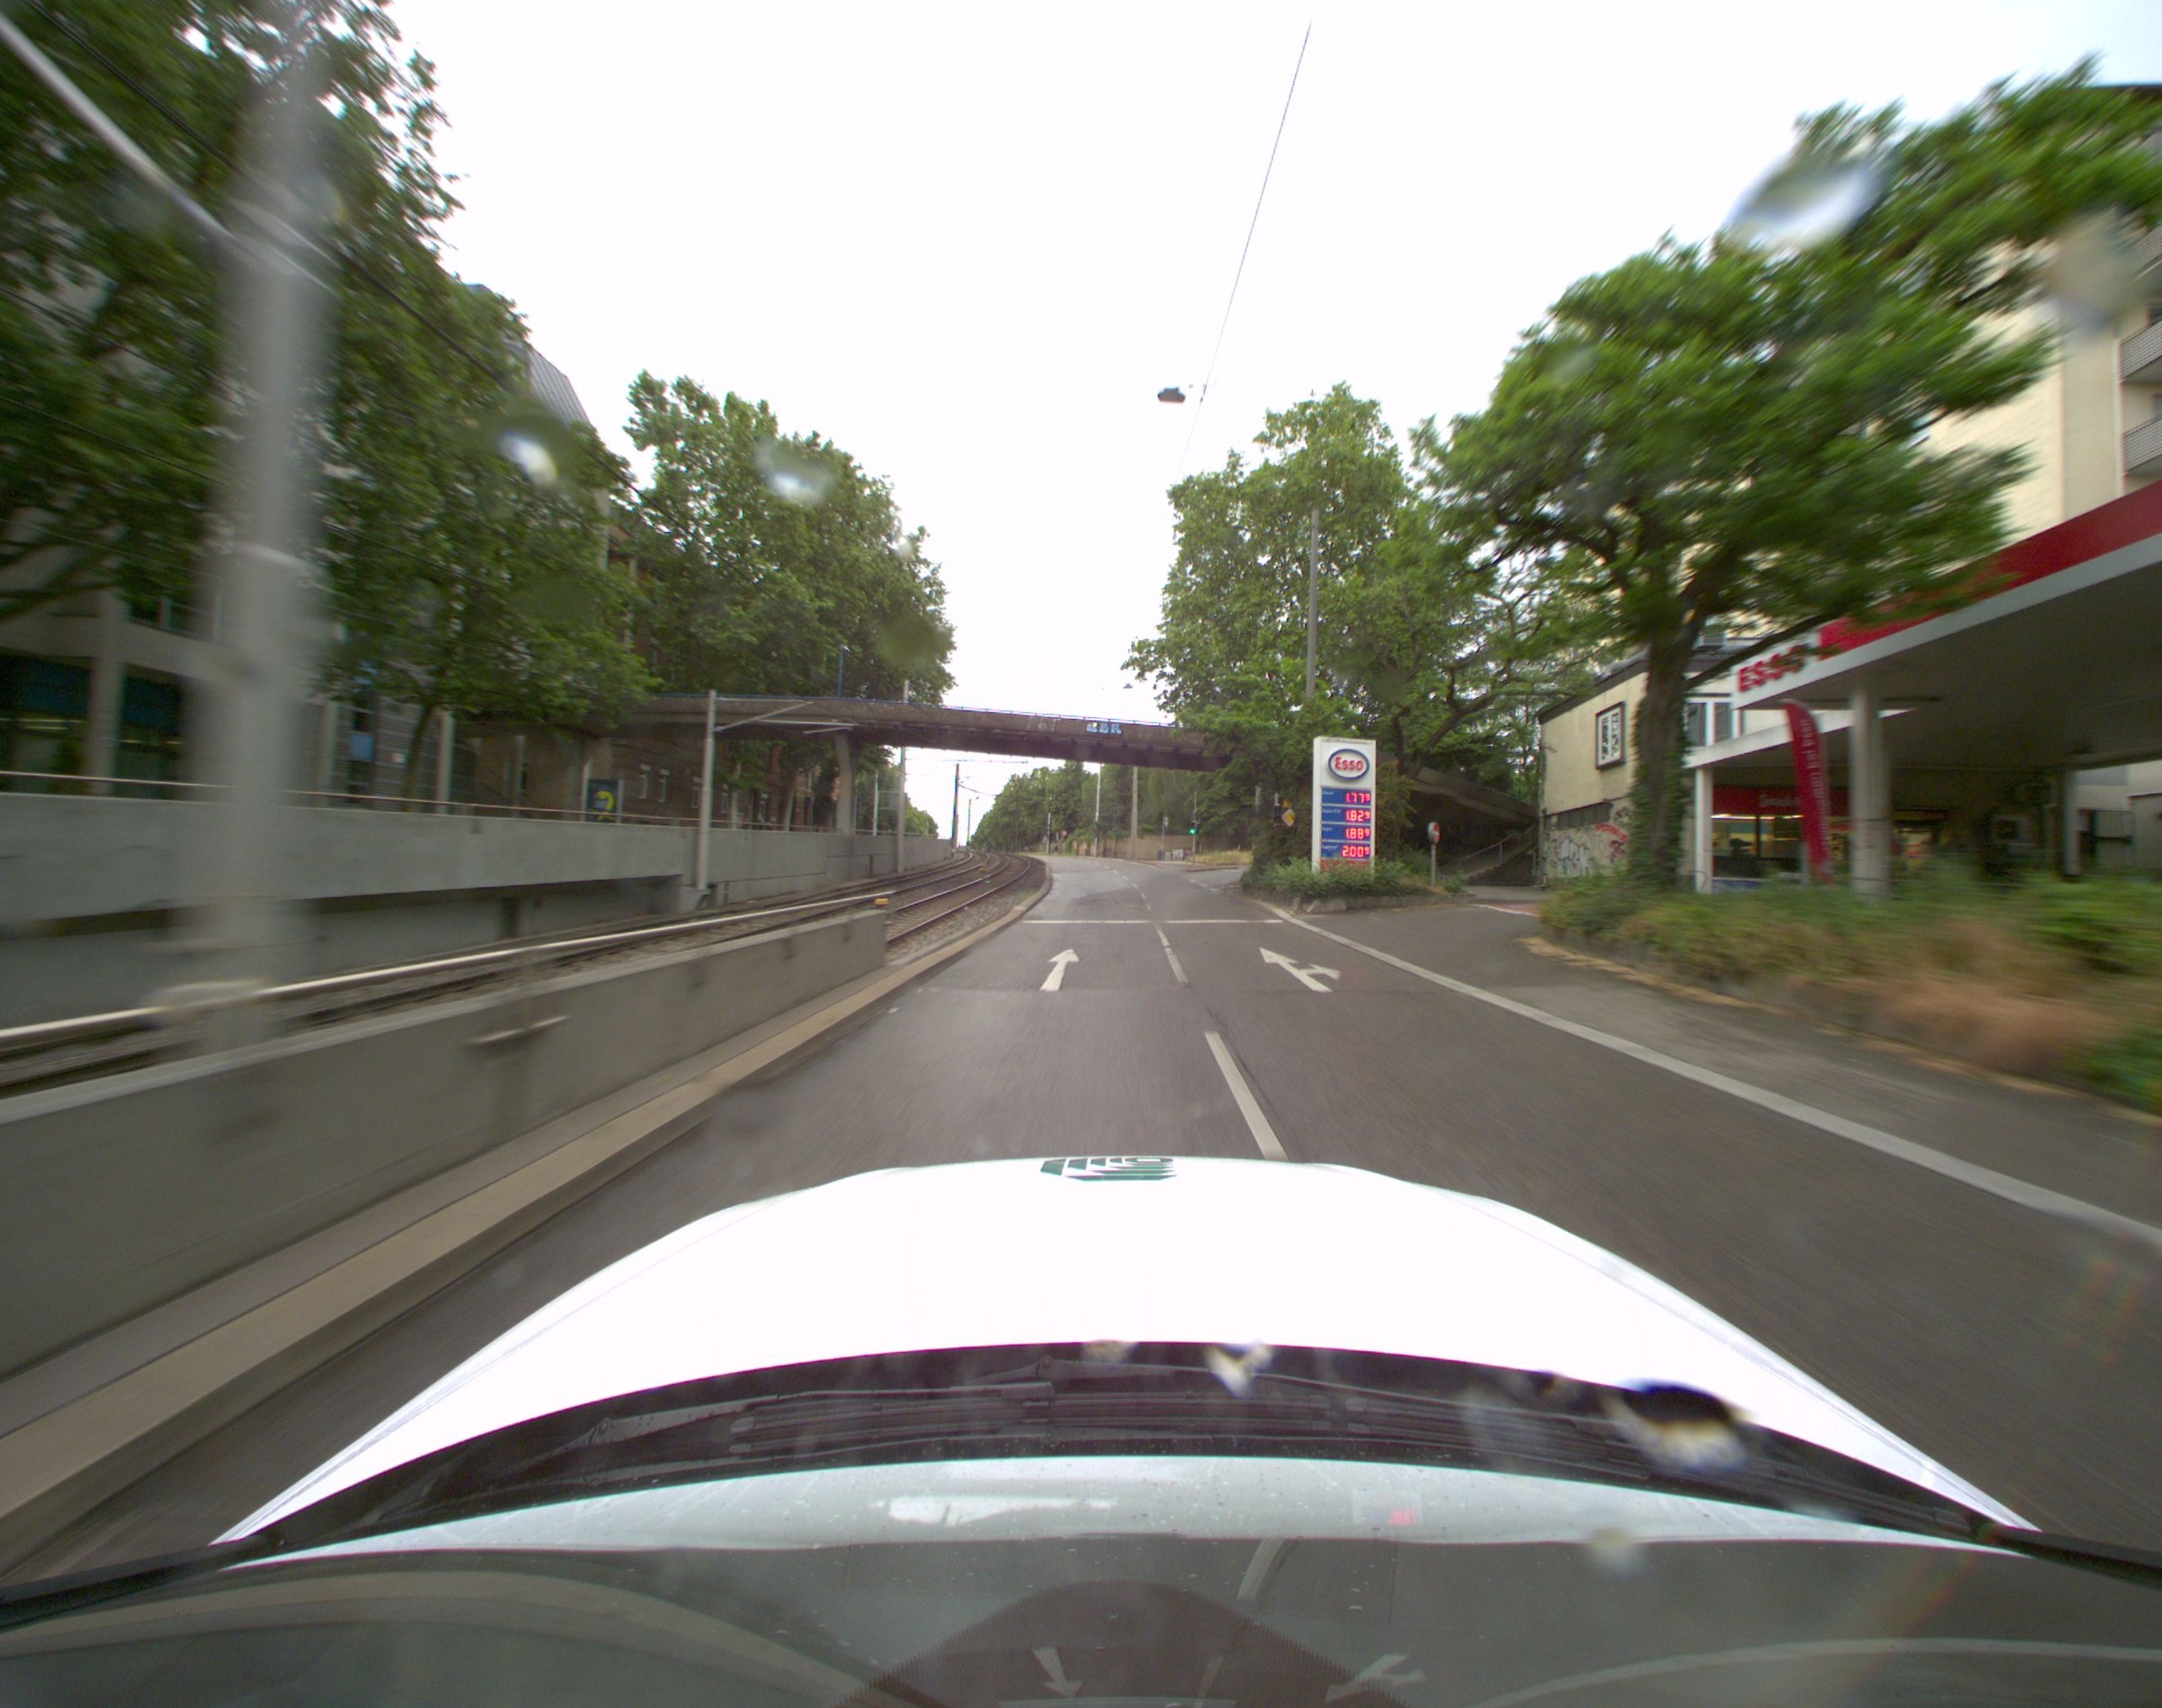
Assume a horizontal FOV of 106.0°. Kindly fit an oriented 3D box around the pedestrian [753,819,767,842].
[{"bbox_3d":[-22.639,-1.659,57.435,0.589,1.624,0.725,0,1,10],"label":"pedestrian"}]

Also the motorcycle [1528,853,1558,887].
[{"bbox_3d":[17.141,0.589,30.272,0.529,1.190,1.771,0,1,14],"label":"motorcycle"}]

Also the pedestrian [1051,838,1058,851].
[{"bbox_3d":[-3.872,-1.383,119.152,0.720,1.850,0.780,3,-1,-10],"label":"pedestrian"}]

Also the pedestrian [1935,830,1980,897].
[{"bbox_3d":[25.074,0.269,23.291,0.689,1.870,0.666,4,-1,-29],"label":"pedestrian"}]

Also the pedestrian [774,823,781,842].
[{"bbox_3d":[-21.314,-1.480,57.171,0.333,1.334,0.503,0,1,-4],"label":"pedestrian"}]

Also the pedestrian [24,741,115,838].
[{"bbox_3d":[-22.279,-1.402,17.955,0.665,2.014,0.936,4,-1,6],"label":"pedestrian"}]

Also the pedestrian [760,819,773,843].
[{"bbox_3d":[-21.971,-1.618,56.892,0.589,1.624,0.725,0,1,10],"label":"pedestrian"}]

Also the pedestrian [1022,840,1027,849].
[{"bbox_3d":[-10.159,-1.703,146.924,0.720,1.687,0.726,3,-1,-10],"label":"pedestrian"}]

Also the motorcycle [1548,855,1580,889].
[{"bbox_3d":[17.780,0.632,30.010,0.529,1.190,1.771,0,1,14],"label":"motorcycle"}]
